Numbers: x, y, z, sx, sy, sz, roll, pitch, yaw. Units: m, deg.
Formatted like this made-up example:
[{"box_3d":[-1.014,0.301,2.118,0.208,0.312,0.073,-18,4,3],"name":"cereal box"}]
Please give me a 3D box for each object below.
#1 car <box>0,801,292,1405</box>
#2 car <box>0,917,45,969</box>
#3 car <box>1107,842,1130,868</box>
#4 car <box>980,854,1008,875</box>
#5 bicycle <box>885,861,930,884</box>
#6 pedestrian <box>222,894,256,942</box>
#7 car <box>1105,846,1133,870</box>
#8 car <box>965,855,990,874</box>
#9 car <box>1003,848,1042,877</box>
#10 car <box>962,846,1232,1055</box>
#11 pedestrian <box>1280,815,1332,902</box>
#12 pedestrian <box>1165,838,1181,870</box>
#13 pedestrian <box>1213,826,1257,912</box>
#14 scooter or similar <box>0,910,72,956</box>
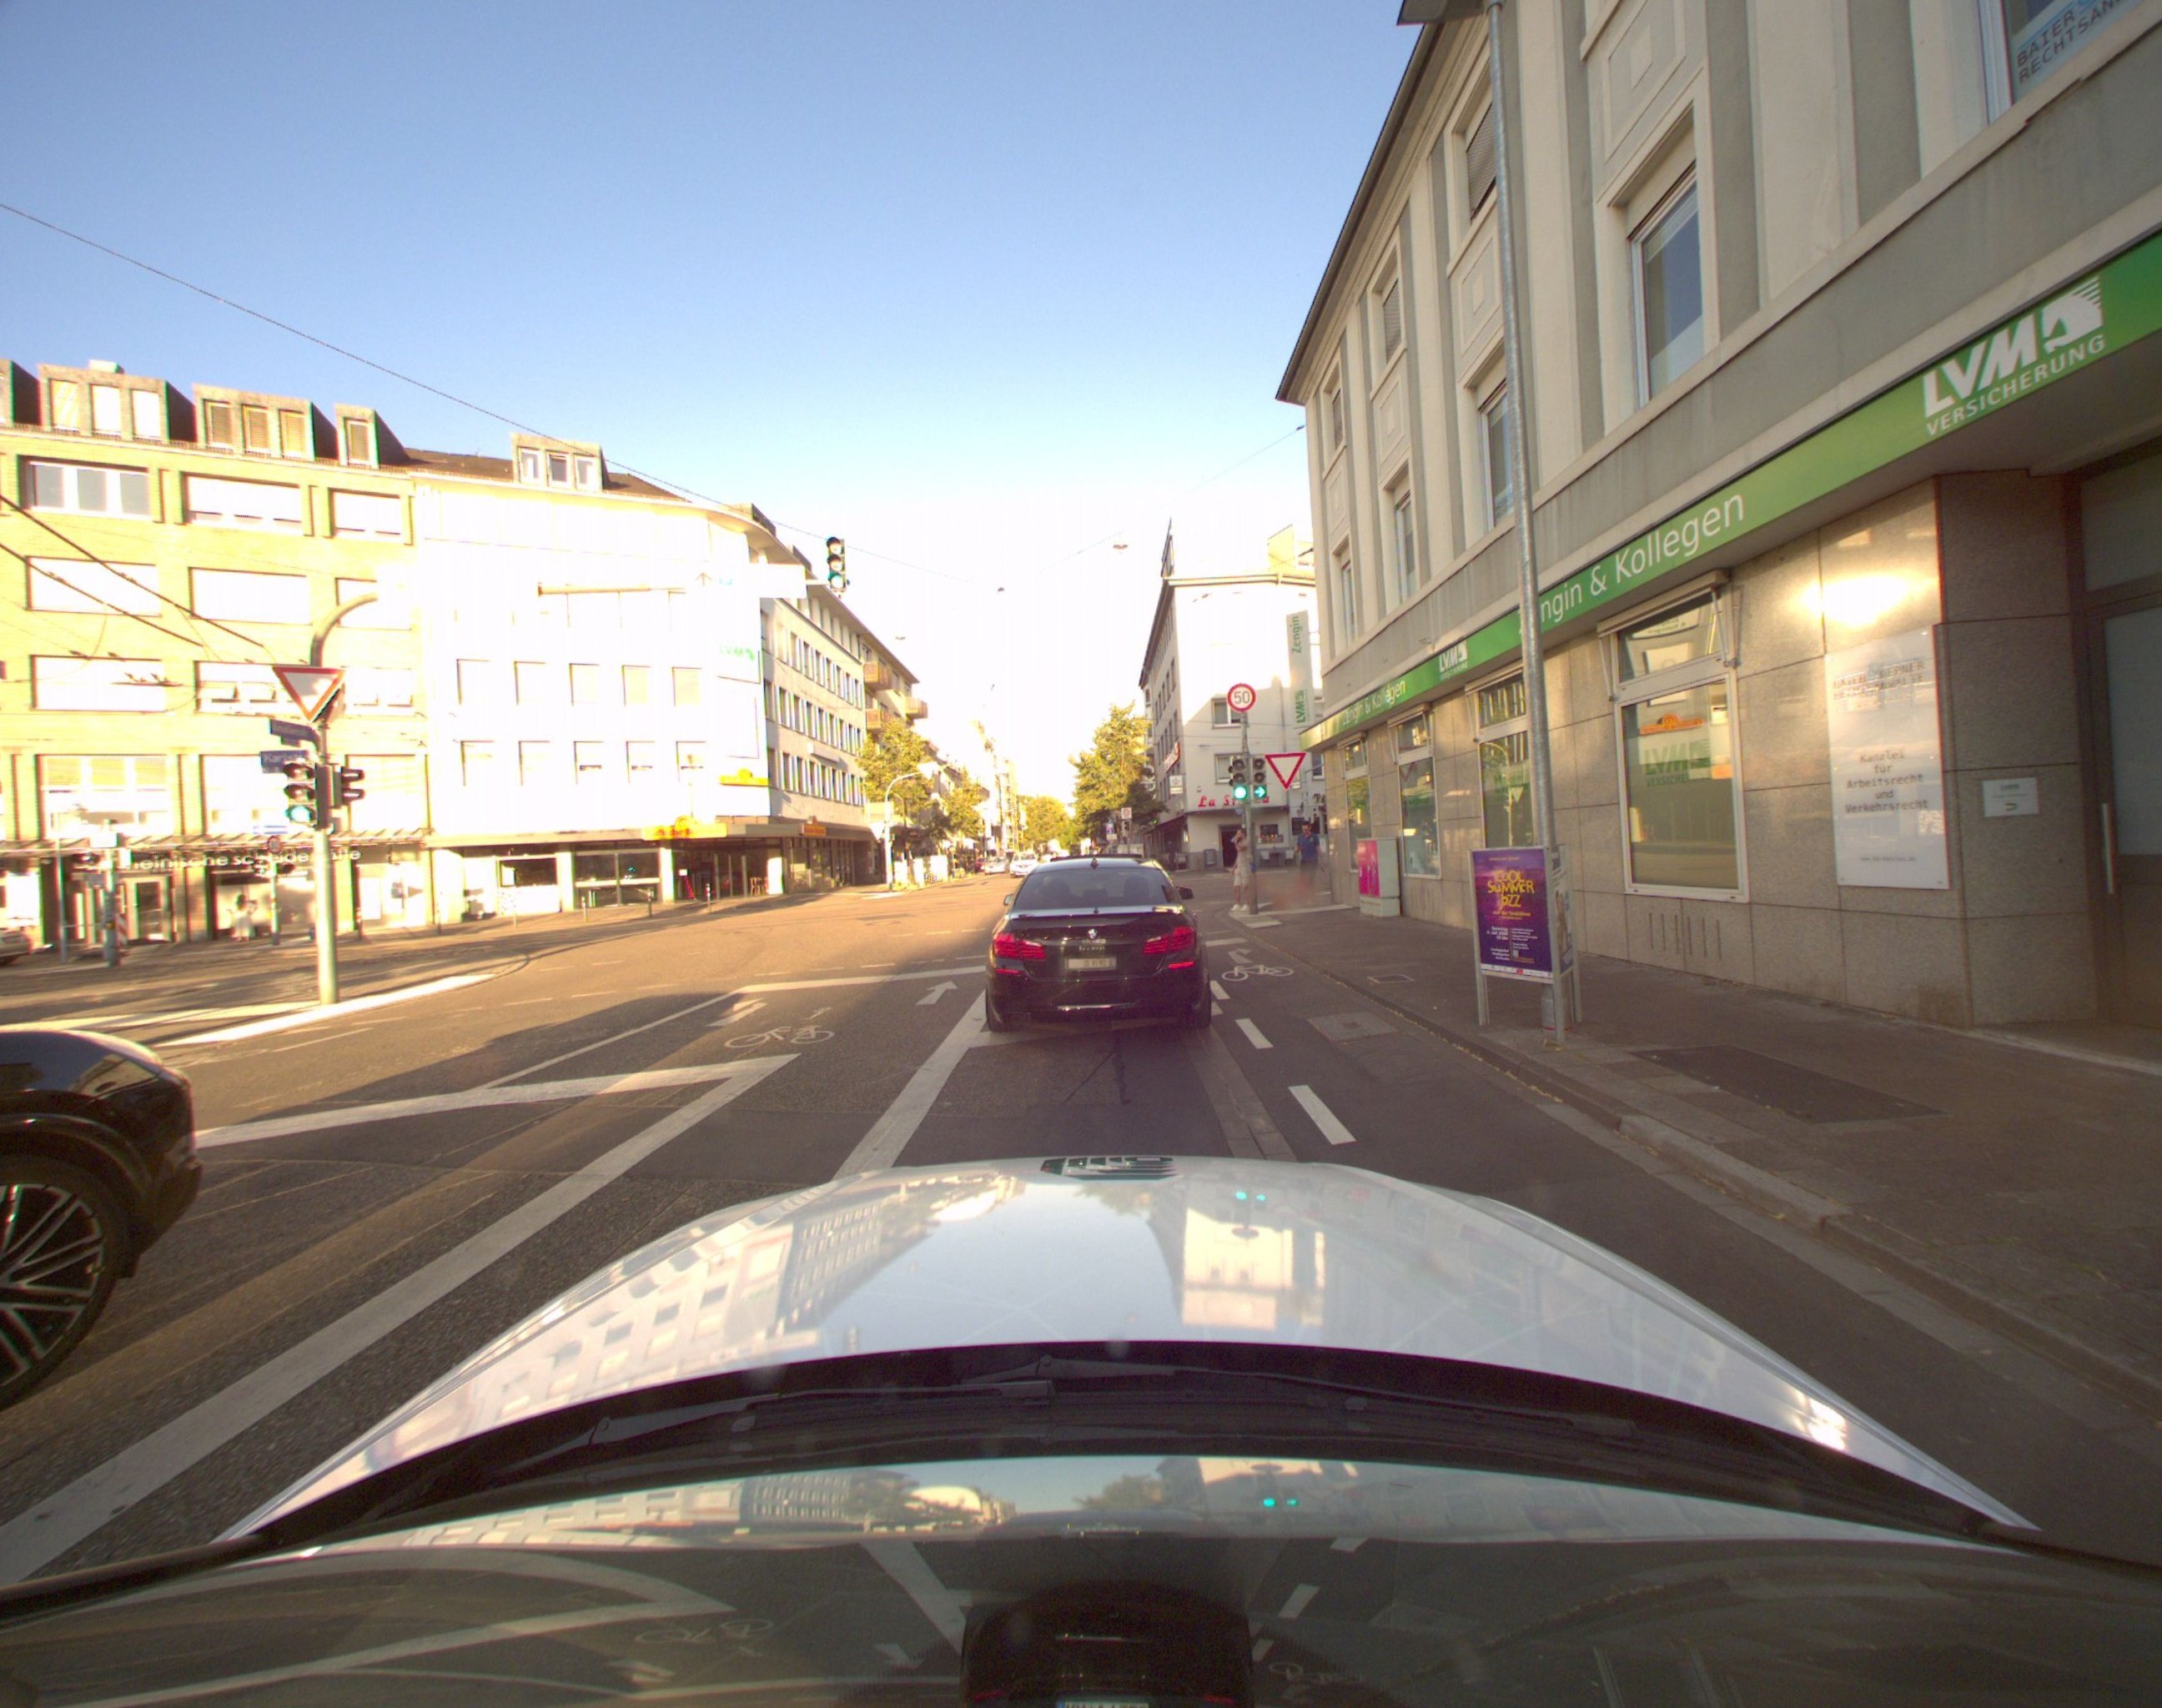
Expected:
[{"box_3d":[-3.998,0.741,0.827,1.794,1.697,4.570,-3,0,1],"name":"car"},{"box_3d":[-30.953,2.560,21.886,3.393,1.253,1.625,-4,3,-23],"name":"car"},{"box_3d":[2.796,0.037,59.963,1.633,1.873,3.610,0,1,3],"name":"car"},{"box_3d":[-6.931,0.845,65.377,1.829,1.556,3.778,-4,-1,-1],"name":"car"},{"box_3d":[-9.851,1.047,46.301,2.362,1.253,0.639,-2,-1,-5],"name":"bicycle"},{"box_3d":[-27.634,2.092,26.740,0.628,1.471,0.537,-5,4,-39],"name":"pedestrian"},{"box_3d":[2.501,0.257,53.235,1.633,1.444,3.610,-3,0,3],"name":"car"},{"box_3d":[-9.874,0.995,77.861,1.829,1.556,3.778,-4,-1,-1],"name":"car"},{"box_3d":[-3.539,0.512,50.139,2.102,1.556,4.010,-4,-1,-1],"name":"car"},{"box_3d":[0.180,0.696,8.170,1.946,1.498,4.466,-1,0,2],"name":"car"},{"box_3d":[4.883,0.091,17.641,0.684,1.827,0.886,-4,0,36],"name":"pedestrian"},{"box_3d":[4.995,0.012,44.349,0.709,1.676,0.703,-3,0,0],"name":"pedestrian"},{"box_3d":[3.258,0.315,17.232,0.651,1.742,0.692,-3,0,-6],"name":"pedestrian"},{"box_3d":[-32.548,2.457,25.276,1.468,1.258,0.392,-4,2,-22],"name":"scooter or similar"}]
